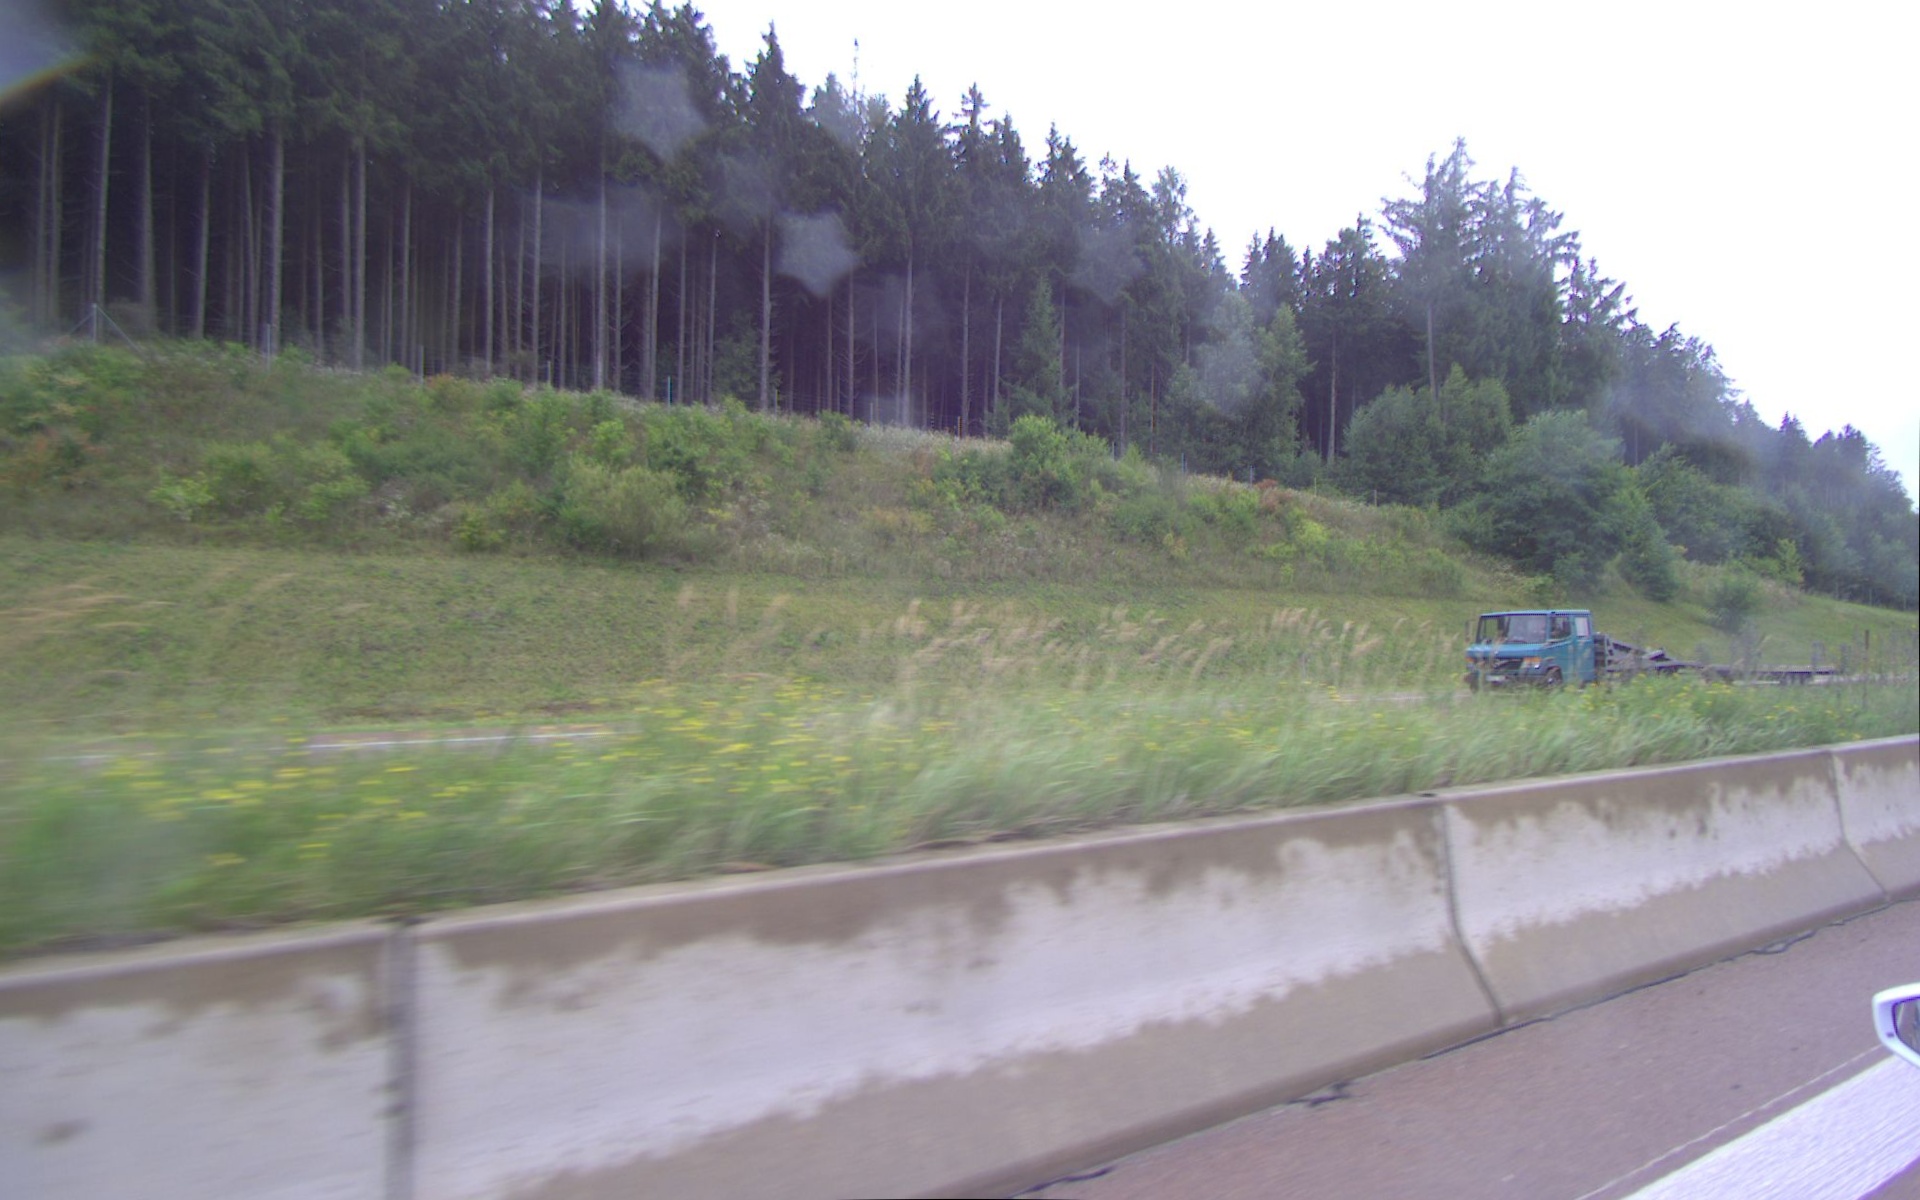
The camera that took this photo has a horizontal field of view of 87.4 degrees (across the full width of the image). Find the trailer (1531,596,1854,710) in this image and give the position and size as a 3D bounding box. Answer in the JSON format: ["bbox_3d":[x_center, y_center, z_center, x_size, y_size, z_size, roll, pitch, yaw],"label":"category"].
[{"bbox_3d":[23.619,1.705,31.871,14.269,3.037,2.824,3,0,-31],"label":"trailer"}]

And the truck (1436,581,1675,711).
[{"bbox_3d":[16.400,1.241,27.578,6.420,3.214,2.849,3,0,-30],"label":"truck"}]
